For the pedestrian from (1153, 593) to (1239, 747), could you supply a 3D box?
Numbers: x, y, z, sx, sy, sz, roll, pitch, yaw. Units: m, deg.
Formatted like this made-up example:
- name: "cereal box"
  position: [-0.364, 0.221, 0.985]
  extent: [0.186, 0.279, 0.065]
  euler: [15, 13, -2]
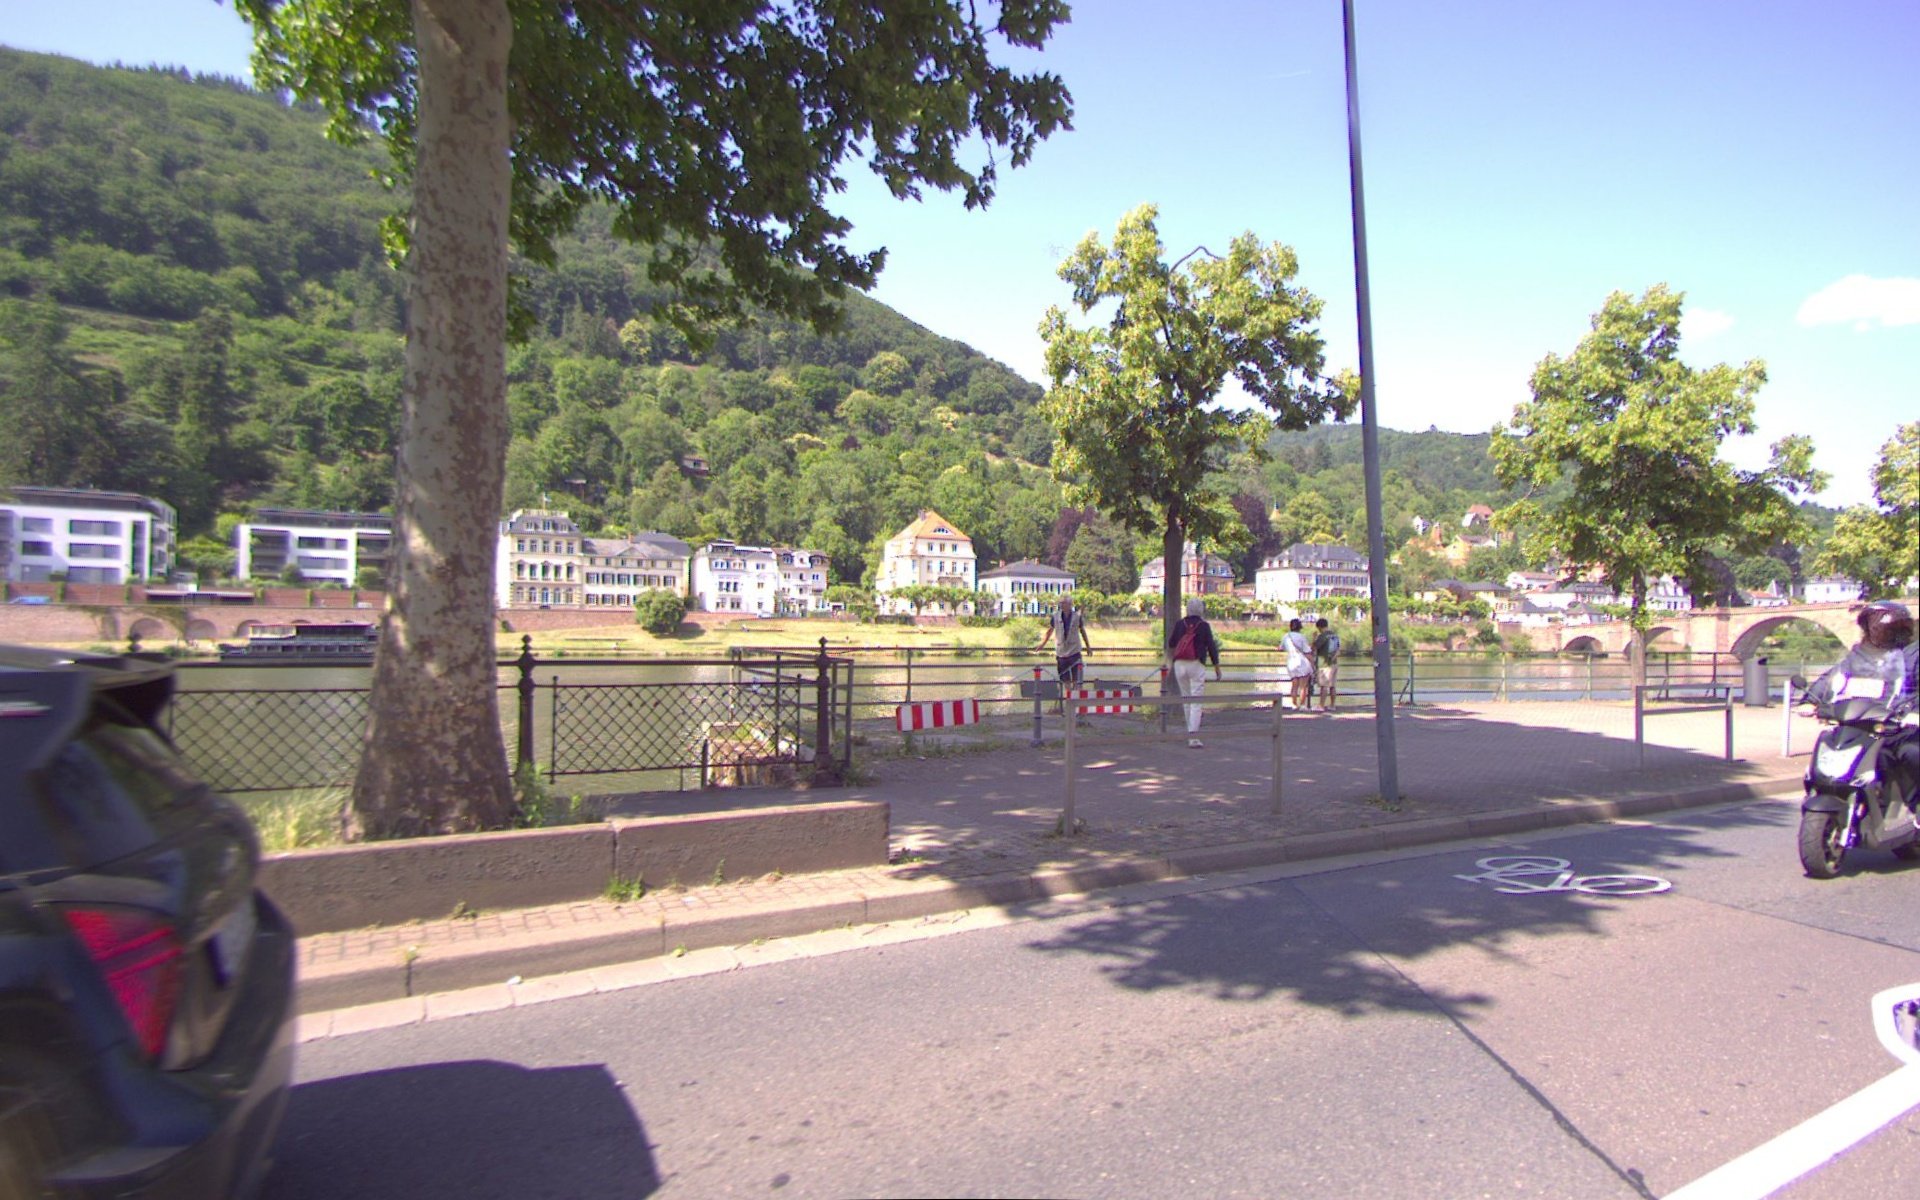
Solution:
- name: "pedestrian"
  position: [2.763, 0.795, 11.727]
  extent: [0.648, 1.705, 0.755]
  euler: [3, 1, 40]

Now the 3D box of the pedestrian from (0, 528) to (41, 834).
- name: "pedestrian"
  position: [-5.433, 0.429, 5.284]
  extent: [0.688, 1.607, 0.758]
  euler: [2, -2, -31]

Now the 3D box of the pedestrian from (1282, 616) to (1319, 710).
- name: "pedestrian"
  position: [5.957, 1.097, 17.590]
  extent: [0.444, 1.618, 0.414]
  euler: [2, -2, -22]

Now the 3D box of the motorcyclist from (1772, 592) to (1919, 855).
- name: "motorcyclist"
  position: [6.154, 0.777, 6.691]
  extent: [1.013, 1.604, 0.874]
  euler: [2, -2, -31]

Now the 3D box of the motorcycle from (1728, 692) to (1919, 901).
- name: "motorcycle"
  position: [6.085, 1.200, 6.674]
  extent: [2.304, 1.091, 0.878]
  euler: [2, -3, -34]

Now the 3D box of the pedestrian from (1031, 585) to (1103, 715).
- name: "pedestrian"
  position: [1.679, 0.785, 15.801]
  extent: [0.876, 1.970, 0.690]
  euler: [2, -2, -31]

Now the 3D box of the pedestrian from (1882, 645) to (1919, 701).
- name: "pedestrian"
  position: [22.953, 1.748, 24.109]
  extent: [0.837, 1.298, 0.935]
  euler: [2, -2, -21]

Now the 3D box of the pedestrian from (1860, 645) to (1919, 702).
- name: "pedestrian"
  position: [22.119, 1.733, 23.771]
  extent: [0.837, 1.298, 0.935]
  euler: [2, -2, -21]

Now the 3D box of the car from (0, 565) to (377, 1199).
- name: "car"
  position: [-3.128, 0.664, 1.385]
  extent: [3.955, 1.477, 1.693]
  euler: [2, -3, -30]

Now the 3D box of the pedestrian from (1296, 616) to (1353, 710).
- name: "pedestrian"
  position: [6.466, 1.109, 17.851]
  extent: [0.654, 1.637, 0.692]
  euler: [2, -2, -22]
